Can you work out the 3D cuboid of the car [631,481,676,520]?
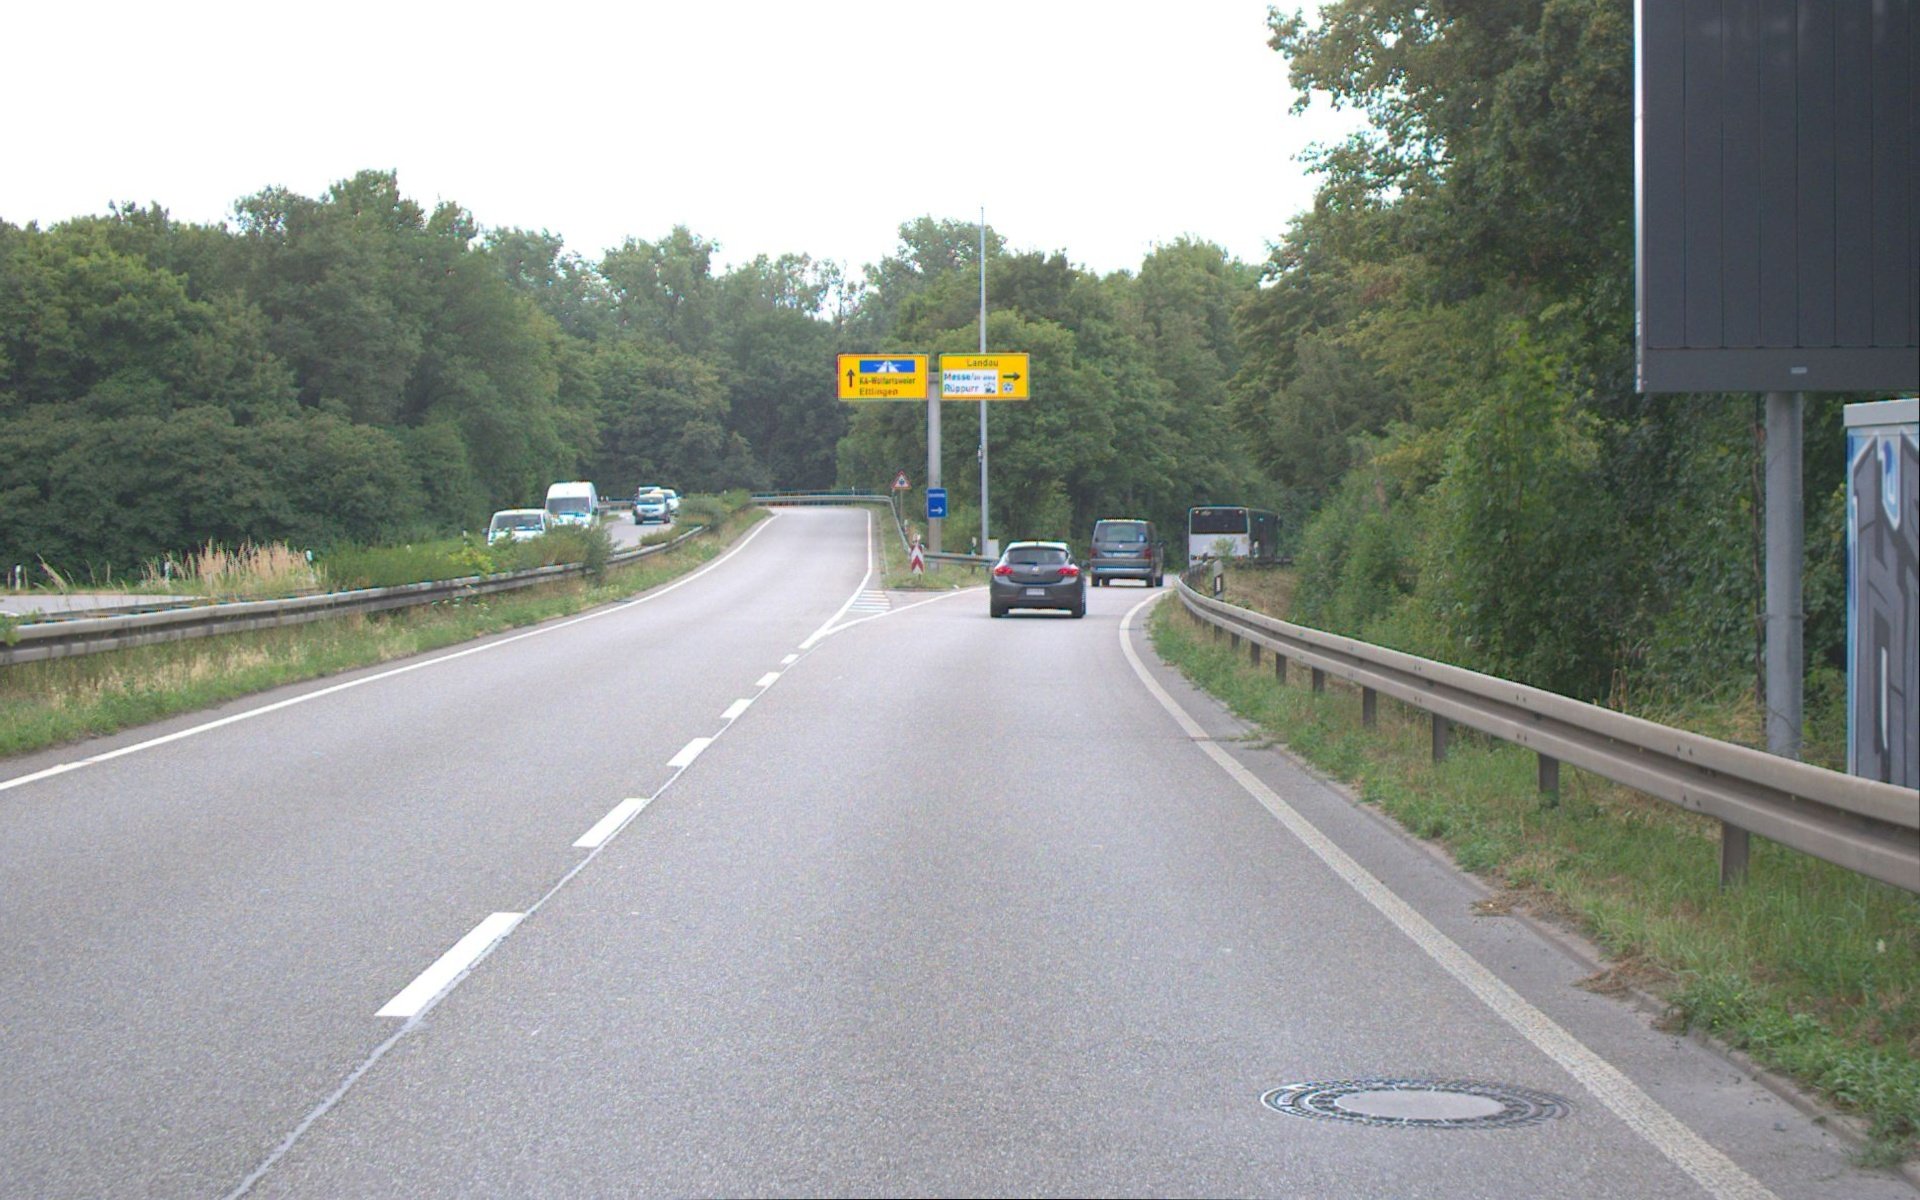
[{"bbox_3d":[-15.962,-5.193,179.073,1.993,2.006,4.000,0,2,0],"label":"car"}]

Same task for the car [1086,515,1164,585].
[{"bbox_3d":[4.892,-1.457,101.556,2.148,2.007,3.999,0,0,5],"label":"car"}]

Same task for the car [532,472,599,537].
[{"bbox_3d":[-15.995,-3.877,139.621,2.118,2.582,5.040,0,2,0],"label":"car"}]

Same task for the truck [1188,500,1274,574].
[{"bbox_3d":[11.079,-2.522,140.031,2.981,2.875,7.988,0,0,8],"label":"truck"}]

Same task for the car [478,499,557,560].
[{"bbox_3d":[-13.948,-2.241,108.593,1.993,1.840,4.001,0,2,0],"label":"car"}]

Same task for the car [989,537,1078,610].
[{"bbox_3d":[1.405,-0.501,66.837,1.625,1.373,4.000,0,0,0],"label":"car"}]
